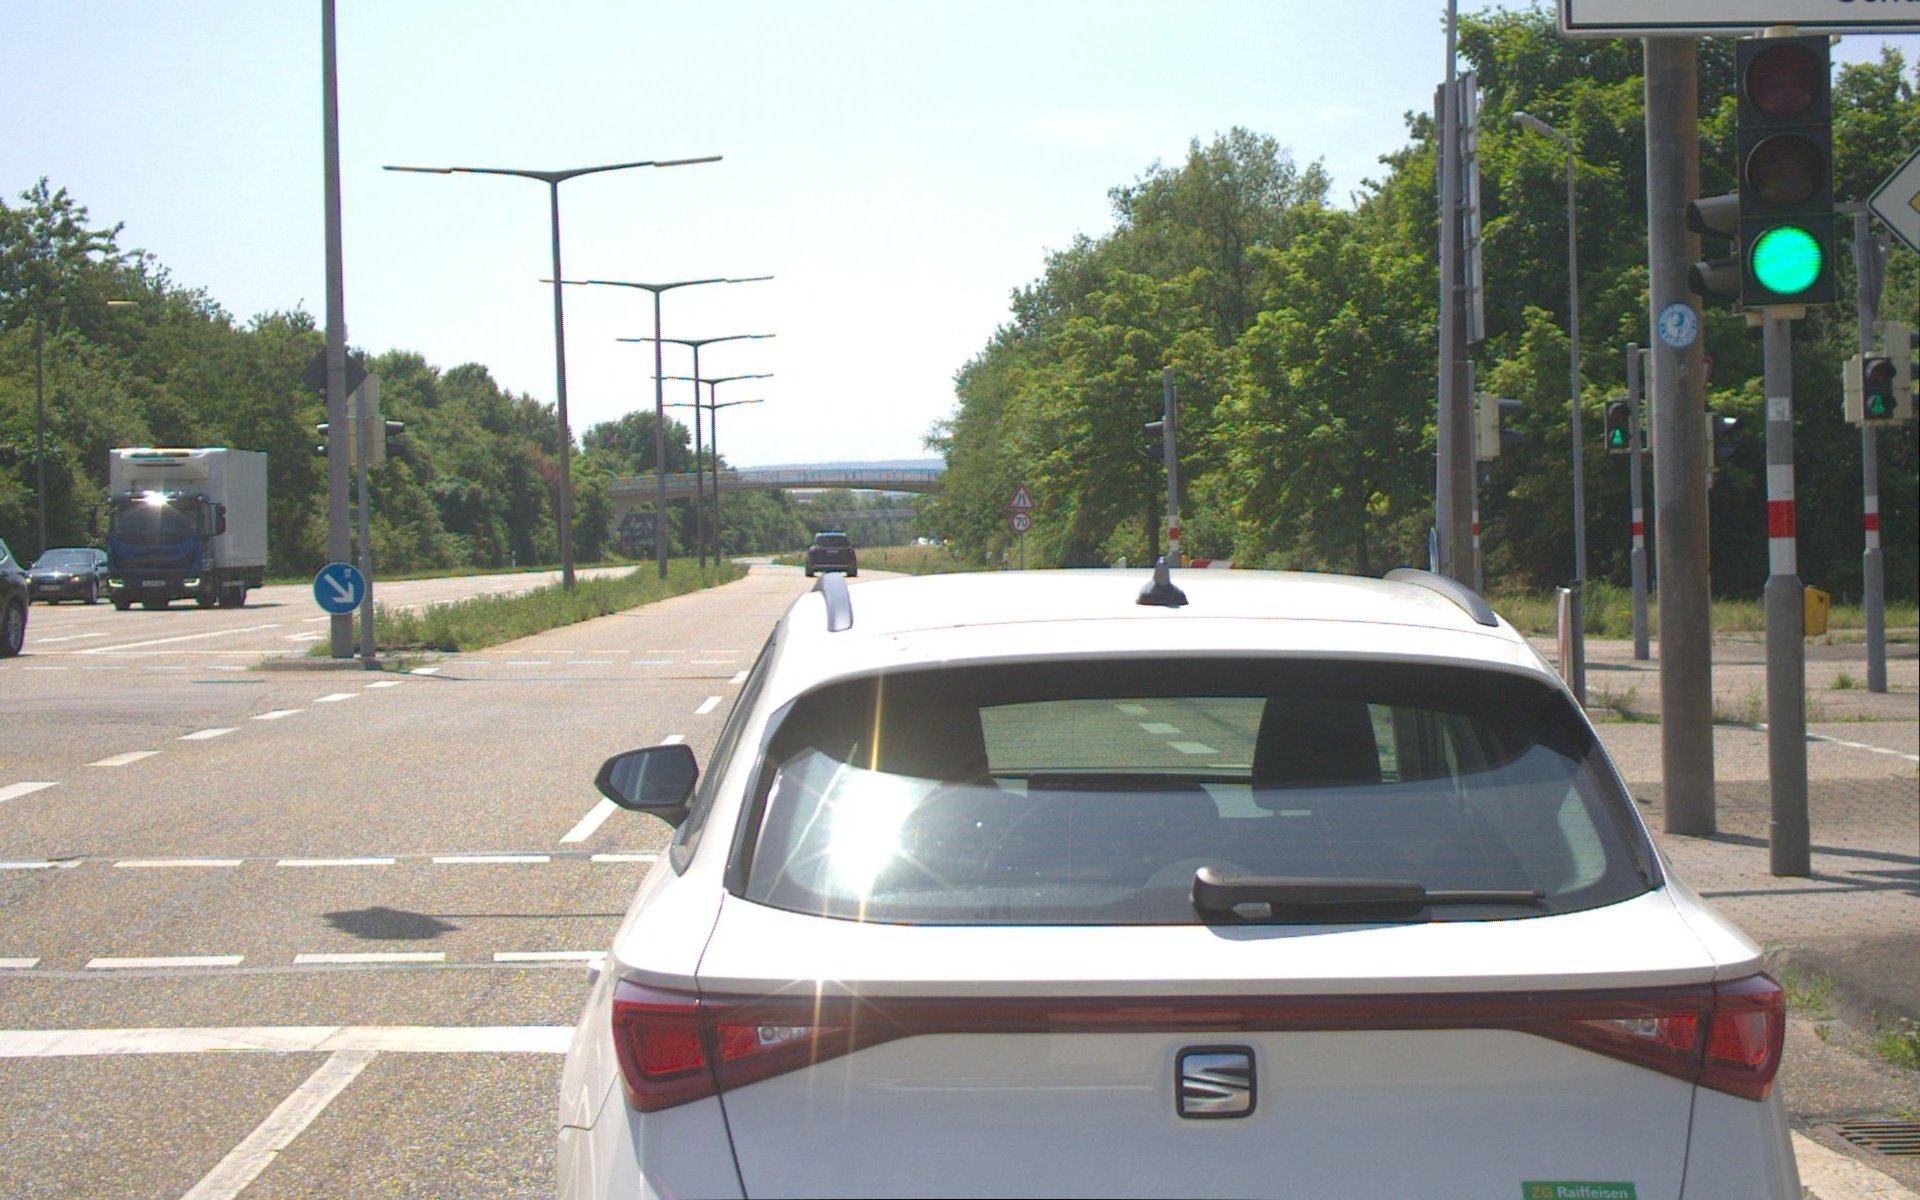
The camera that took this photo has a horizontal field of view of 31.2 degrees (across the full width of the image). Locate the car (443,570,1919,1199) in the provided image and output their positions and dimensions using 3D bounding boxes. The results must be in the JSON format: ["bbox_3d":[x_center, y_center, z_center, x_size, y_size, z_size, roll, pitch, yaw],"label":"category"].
[{"bbox_3d":[0.257,0.673,5.758,1.734,1.423,3.695,1,0,-1],"label":"car"}]

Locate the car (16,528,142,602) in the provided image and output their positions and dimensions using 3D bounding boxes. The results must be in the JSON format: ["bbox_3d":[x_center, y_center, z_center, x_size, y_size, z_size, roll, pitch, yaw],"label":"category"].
[{"bbox_3d":[-21.346,-0.877,83.503,1.822,1.726,4.926,-1,1,-1],"label":"car"}]

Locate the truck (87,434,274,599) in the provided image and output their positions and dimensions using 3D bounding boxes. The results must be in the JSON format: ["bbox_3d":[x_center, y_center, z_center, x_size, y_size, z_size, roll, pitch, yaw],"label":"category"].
[{"bbox_3d":[-17.601,-1.891,78.064,2.687,3.558,7.268,0,1,-1],"label":"truck"}]

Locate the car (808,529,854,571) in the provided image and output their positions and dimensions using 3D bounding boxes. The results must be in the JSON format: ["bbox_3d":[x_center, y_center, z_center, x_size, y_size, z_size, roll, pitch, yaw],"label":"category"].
[{"bbox_3d":[-5.383,-2.109,143.308,1.855,1.703,4.001,-1,1,-2],"label":"car"}]

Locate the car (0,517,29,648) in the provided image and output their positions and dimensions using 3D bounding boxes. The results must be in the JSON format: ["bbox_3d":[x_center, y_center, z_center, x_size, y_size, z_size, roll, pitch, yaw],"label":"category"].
[{"bbox_3d":[-13.053,-0.186,42.542,1.707,1.657,4.223,-1,1,3],"label":"car"}]
